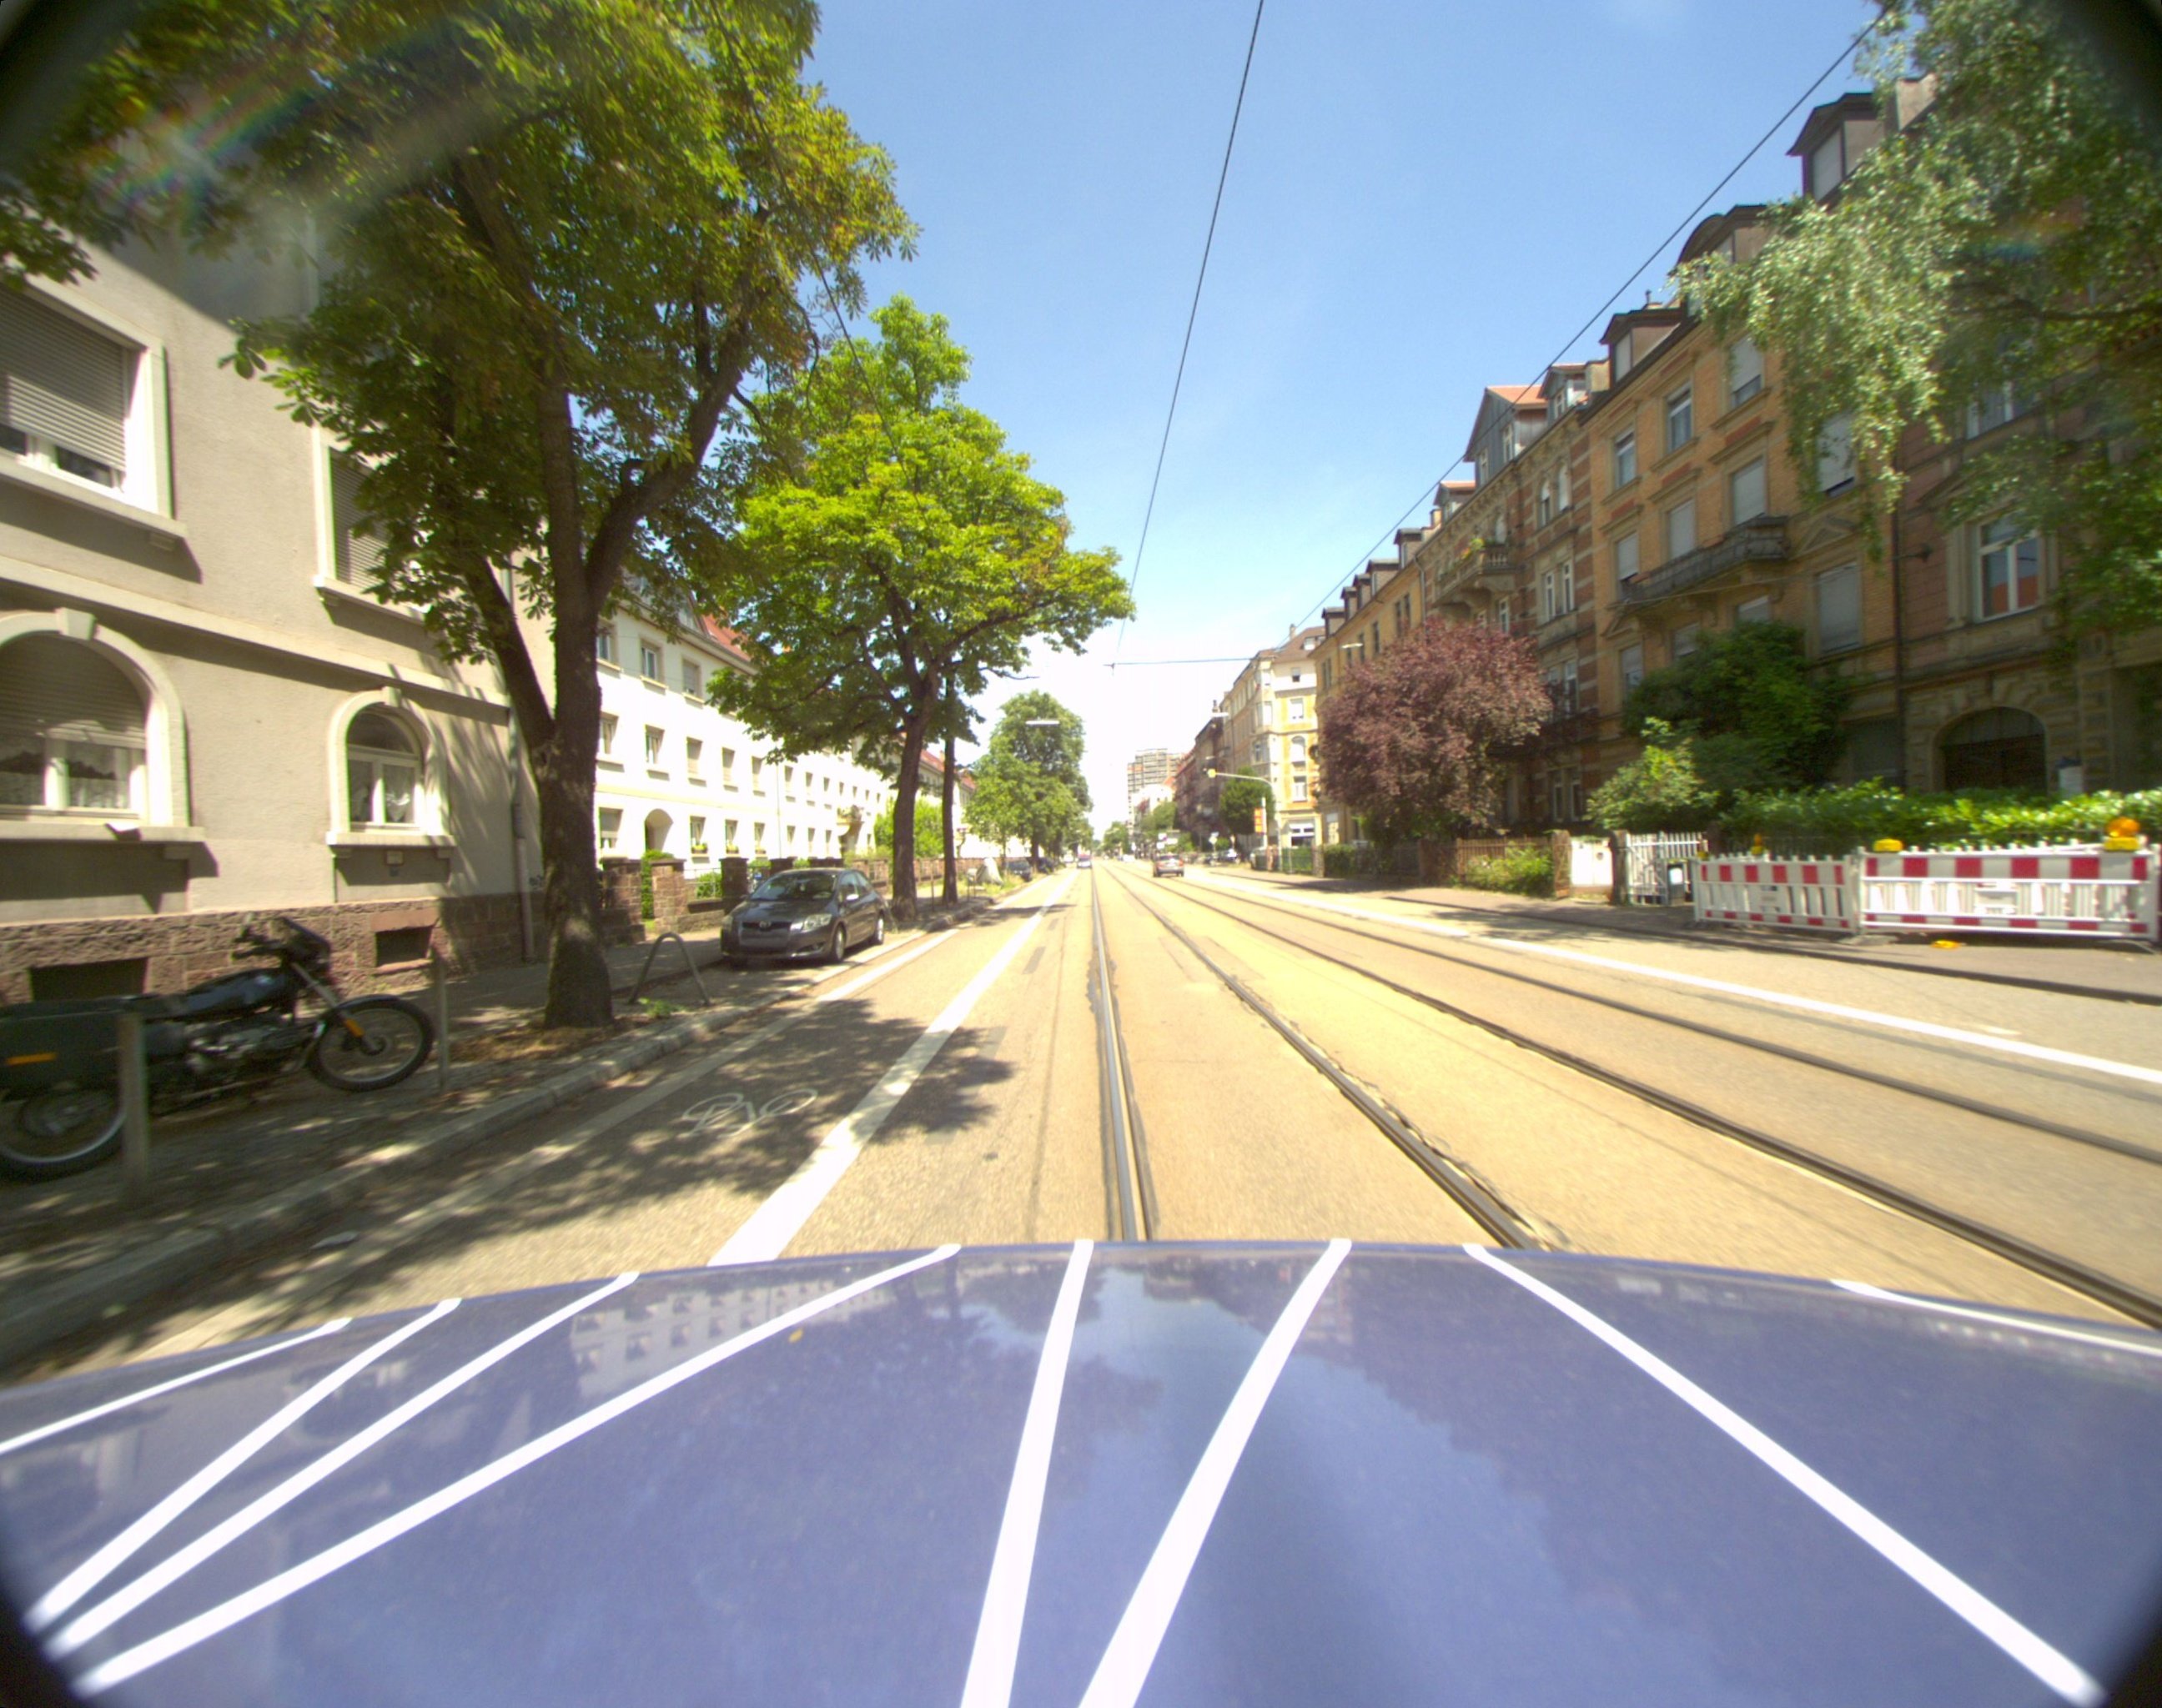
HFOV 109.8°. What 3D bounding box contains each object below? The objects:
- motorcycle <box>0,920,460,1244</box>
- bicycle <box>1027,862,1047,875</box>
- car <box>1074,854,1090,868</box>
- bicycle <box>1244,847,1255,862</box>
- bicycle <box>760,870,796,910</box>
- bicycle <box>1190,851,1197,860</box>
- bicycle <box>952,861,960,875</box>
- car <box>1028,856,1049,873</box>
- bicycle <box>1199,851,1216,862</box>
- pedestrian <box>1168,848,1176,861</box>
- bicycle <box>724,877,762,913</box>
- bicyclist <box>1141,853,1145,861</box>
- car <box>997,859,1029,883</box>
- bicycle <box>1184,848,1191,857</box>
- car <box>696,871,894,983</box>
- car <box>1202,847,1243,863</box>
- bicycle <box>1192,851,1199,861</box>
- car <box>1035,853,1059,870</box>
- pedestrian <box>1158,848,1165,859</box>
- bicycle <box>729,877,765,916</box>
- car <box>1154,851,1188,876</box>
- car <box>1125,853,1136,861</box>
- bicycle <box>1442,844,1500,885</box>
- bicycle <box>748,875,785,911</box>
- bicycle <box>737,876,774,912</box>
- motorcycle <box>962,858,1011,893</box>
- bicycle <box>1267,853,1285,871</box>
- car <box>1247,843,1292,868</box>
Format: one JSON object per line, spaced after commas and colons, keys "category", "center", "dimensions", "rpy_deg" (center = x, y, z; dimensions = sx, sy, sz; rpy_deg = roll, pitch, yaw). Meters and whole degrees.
{"category": "motorcycle", "center": [-5.305, 1.158, 4.492], "dimensions": [0.998, 1.292, 2.380], "rpy_deg": [-2, 0, 12]}
{"category": "bicycle", "center": [-3.797, 1.217, 65.098], "dimensions": [1.658, 1.072, 0.606], "rpy_deg": [-2, 1, -6]}
{"category": "car", "center": [0.132, 0.807, 88.779], "dimensions": [1.737, 1.543, 4.423], "rpy_deg": [-2, 0, -1]}
{"category": "bicycle", "center": [15.612, 0.029, 70.401], "dimensions": [0.500, 1.221, 1.853], "rpy_deg": [-1, 3, 29]}
{"category": "bicycle", "center": [-9.597, 1.129, 24.123], "dimensions": [0.460, 1.184, 1.564], "rpy_deg": [-2, 0, 1]}
{"category": "bicycle", "center": [12.200, 0.166, 82.693], "dimensions": [0.440, 0.978, 1.710], "rpy_deg": [-3, 0, -1]}
{"category": "bicycle", "center": [-10.419, 1.159, 63.529], "dimensions": [0.480, 1.072, 1.923], "rpy_deg": [-3, 0, -5]}
{"category": "car", "center": [-3.851, 0.947, 69.669], "dimensions": [1.699, 1.410, 4.356], "rpy_deg": [-2, 0, -2]}
{"category": "bicycle", "center": [13.192, 0.245, 79.211], "dimensions": [1.709, 1.031, 0.551], "rpy_deg": [-3, 1, 5]}
{"category": "pedestrian", "center": [12.233, 0.080, 102.317], "dimensions": [0.853, 1.713, 1.138], "rpy_deg": [-5, 1, 1]}
{"category": "bicycle", "center": [-10.689, 1.282, 24.086], "dimensions": [0.460, 1.050, 1.564], "rpy_deg": [-2, 0, 1]}
{"category": "bicyclist", "center": [13.063, 0.616, 159.935], "dimensions": [0.594, 1.535, 0.952], "rpy_deg": [-1, 1, 0]}
{"category": "car", "center": [-4.488, 1.068, 50.503], "dimensions": [1.774, 1.418, 4.861], "rpy_deg": [-2, 0, -2]}
{"category": "bicycle", "center": [12.329, -0.212, 87.831], "dimensions": [0.498, 0.981, 1.710], "rpy_deg": [-7, 0, -1]}
{"category": "car", "center": [-4.661, 1.107, 13.140], "dimensions": [1.778, 1.492, 4.305], "rpy_deg": [-1, 0, 0]}
{"category": "car", "center": [14.333, 0.060, 77.228], "dimensions": [3.769, 1.420, 1.713], "rpy_deg": [-3, 1, 1]}
{"category": "bicycle", "center": [12.160, 0.231, 80.653], "dimensions": [0.440, 0.978, 1.710], "rpy_deg": [-3, 0, -1]}
{"category": "car", "center": [-3.550, 0.769, 79.645], "dimensions": [1.952, 1.641, 4.881], "rpy_deg": [-2, 0, 4]}
{"category": "pedestrian", "center": [11.882, -0.078, 112.413], "dimensions": [0.874, 1.690, 1.014], "rpy_deg": [-3, 0, 7]}
{"category": "bicycle", "center": [-9.880, 1.241, 22.523], "dimensions": [0.460, 1.050, 1.563], "rpy_deg": [-2, 0, -6]}
{"category": "car", "center": [5.679, 0.553, 48.169], "dimensions": [1.690, 1.446, 3.748], "rpy_deg": [-3, 0, 1]}
{"category": "car", "center": [9.298, 0.565, 142.535], "dimensions": [1.760, 1.416, 4.000], "rpy_deg": [-2, 0, 1]}
{"category": "bicycle", "center": [12.683, 0.335, 24.724], "dimensions": [1.614, 1.180, 0.509], "rpy_deg": [-6, 1, -12]}
{"category": "bicycle", "center": [-9.972, 1.226, 24.124], "dimensions": [0.460, 1.050, 1.564], "rpy_deg": [-2, 0, 1]}
{"category": "bicycle", "center": [-10.305, 1.252, 24.092], "dimensions": [0.460, 1.050, 1.564], "rpy_deg": [-2, 0, 1]}
{"category": "motorcycle", "center": [-4.363, 1.008, 34.907], "dimensions": [2.314, 1.531, 0.871], "rpy_deg": [-3, 1, 44]}
{"category": "bicycle", "center": [11.675, 0.480, 45.555], "dimensions": [0.455, 0.997, 1.806], "rpy_deg": [-3, 0, -3]}
{"category": "car", "center": [13.498, 0.111, 54.591], "dimensions": [1.871, 1.591, 4.100], "rpy_deg": [-4, 0, -4]}
